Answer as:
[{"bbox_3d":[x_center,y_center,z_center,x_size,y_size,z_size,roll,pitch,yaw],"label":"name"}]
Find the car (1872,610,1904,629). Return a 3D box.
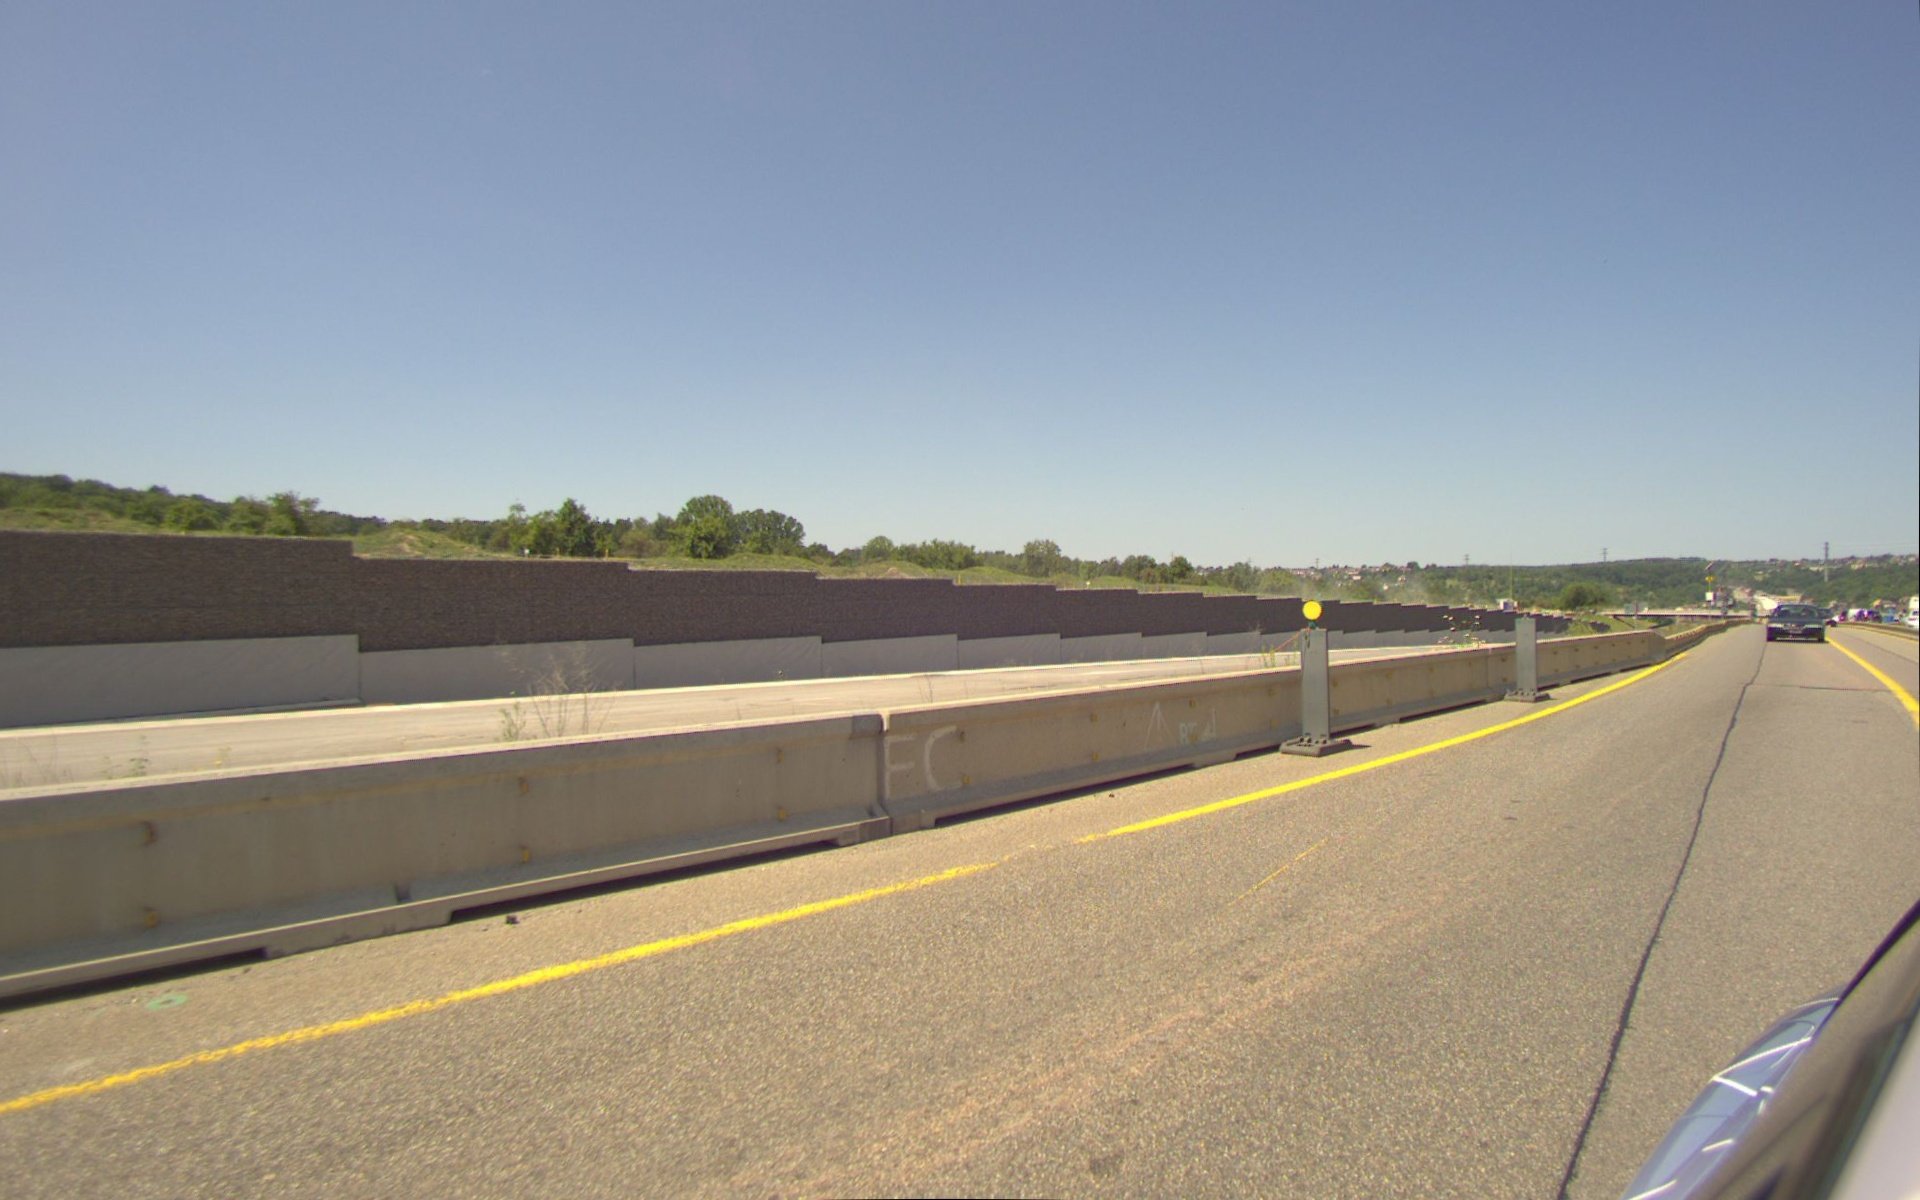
[{"bbox_3d":[82.222,1.705,89.727,1.902,1.629,3.942,1,0,40],"label":"car"}]

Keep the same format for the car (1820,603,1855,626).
[{"bbox_3d":[67.942,1.101,78.431,1.809,1.683,3.943,-3,-2,39],"label":"car"}]

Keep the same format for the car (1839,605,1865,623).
[{"bbox_3d":[95.236,1.523,108.095,1.850,1.863,4.525,2,0,39],"label":"car"}]

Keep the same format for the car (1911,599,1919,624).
[{"bbox_3d":[55.588,0.630,57.561,1.813,1.394,4.187,-3,-2,39],"label":"car"}]

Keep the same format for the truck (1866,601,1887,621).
[{"bbox_3d":[134.441,1.577,148.494,2.238,2.822,6.392,1,0,42],"label":"truck"}]

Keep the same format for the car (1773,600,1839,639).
[{"bbox_3d":[31.635,0.723,37.843,1.804,1.323,3.941,2,0,40],"label":"car"}]
